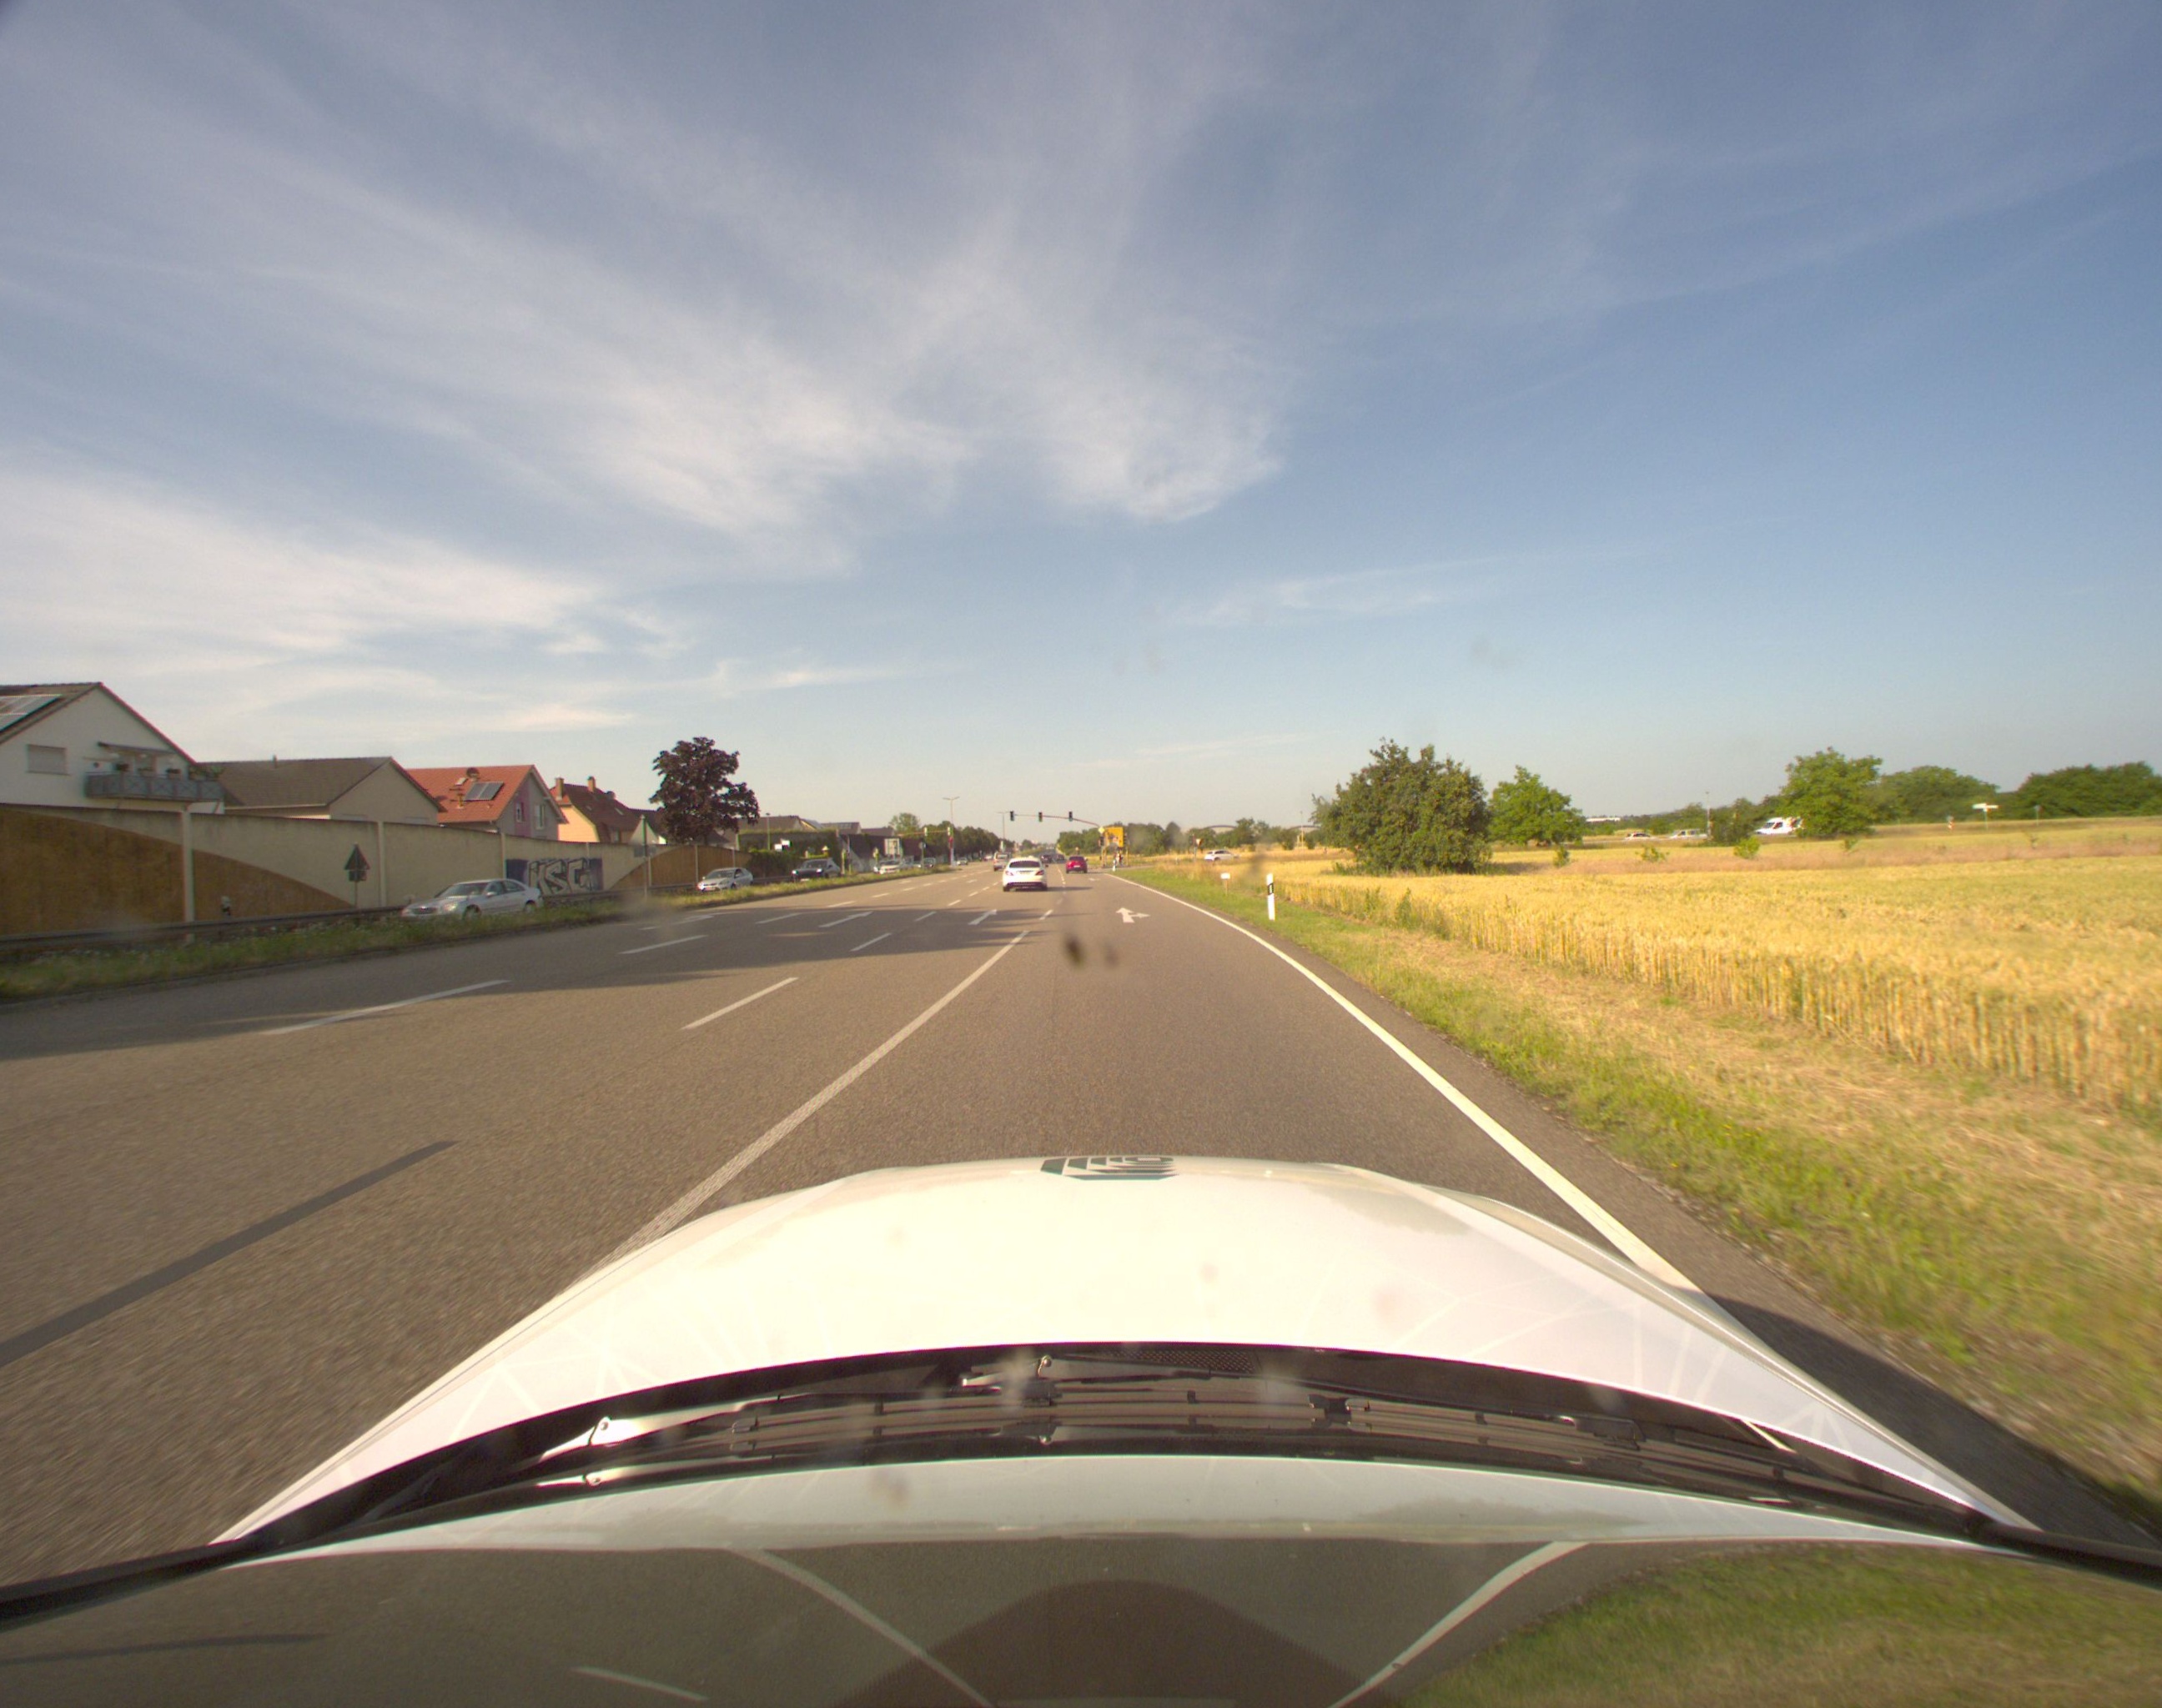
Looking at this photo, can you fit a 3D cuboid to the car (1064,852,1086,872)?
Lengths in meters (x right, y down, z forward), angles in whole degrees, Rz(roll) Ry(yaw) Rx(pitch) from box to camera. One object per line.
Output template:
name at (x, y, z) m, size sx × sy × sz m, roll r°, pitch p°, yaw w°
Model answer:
car at (-0.541, 0.650, 68.604) m, size 1.749 × 1.517 × 3.998 m, roll -2°, pitch 0°, yaw -1°

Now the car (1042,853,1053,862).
car at (-6.217, 0.606, 151.770) m, size 1.833 × 1.684 × 4.000 m, roll 0°, pitch 0°, yaw 1°

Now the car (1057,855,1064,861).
car at (-4.585, 0.890, 180.134) m, size 1.435 × 1.284 × 2.913 m, roll 0°, pitch 0°, yaw -1°

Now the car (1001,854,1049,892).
car at (-2.368, 0.766, 35.373) m, size 1.889 × 1.509 × 3.997 m, roll -1°, pitch 0°, yaw -2°

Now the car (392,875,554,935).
car at (-19.003, 1.526, 25.787) m, size 1.646 × 1.567 × 4.710 m, roll 0°, pitch 0°, yaw -1°

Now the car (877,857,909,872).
car at (-16.472, 0.897, 71.699) m, size 1.868 × 1.321 × 4.710 m, roll 0°, pitch 0°, yaw -2°

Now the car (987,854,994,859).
car at (-26.402, 0.750, 236.518) m, size 1.730 × 1.574 × 3.700 m, roll 0°, pitch 0°, yaw -2°

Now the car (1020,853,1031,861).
car at (-10.337, 0.509, 151.974) m, size 1.712 × 1.492 × 3.582 m, roll 0°, pitch 0°, yaw -1°

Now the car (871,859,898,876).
car at (-20.623, 1.365, 85.559) m, size 1.972 × 1.665 × 4.585 m, roll 0°, pitch 0°, yaw -3°

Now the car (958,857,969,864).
car at (-23.144, 1.233, 160.357) m, size 1.781 × 1.437 × 4.349 m, roll 0°, pitch 0°, yaw -5°

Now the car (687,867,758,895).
car at (-19.093, 1.385, 43.602) m, size 1.775 × 1.322 × 4.602 m, roll 0°, pitch 0°, yaw -1°

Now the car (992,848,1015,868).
car at (-7.889, 0.390, 83.221) m, size 2.019 × 1.891 × 4.956 m, roll 0°, pitch 1°, yaw -1°

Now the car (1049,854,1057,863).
car at (-5.964, 0.936, 173.589) m, size 1.706 × 1.736 × 3.864 m, roll 0°, pitch 0°, yaw -2°

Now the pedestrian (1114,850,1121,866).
pedestrian at (4.064, 0.460, 91.253) m, size 0.708 × 1.751 × 0.863 m, roll 0°, pitch 0°, yaw 0°

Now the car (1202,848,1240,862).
car at (16.169, 0.071, 93.885) m, size 4.003 × 1.598 × 1.847 m, roll 0°, pitch 0°, yaw -22°

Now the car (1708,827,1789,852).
car at (76.406, -1.612, 93.353) m, size 6.973 × 2.795 × 2.326 m, roll 0°, pitch 0°, yaw 10°

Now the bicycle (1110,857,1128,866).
bicycle at (4.311, 0.872, 93.117) m, size 2.088 × 1.089 × 0.808 m, roll 0°, pitch 0°, yaw 1°

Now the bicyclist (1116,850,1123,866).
bicyclist at (4.397, 0.464, 93.101) m, size 0.845 × 1.756 × 0.798 m, roll 0°, pitch 0°, yaw -1°

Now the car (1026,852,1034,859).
car at (-11.726, 0.326, 186.249) m, size 1.773 × 1.665 × 3.657 m, roll 0°, pitch 0°, yaw -5°

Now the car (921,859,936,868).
car at (-21.591, 1.360, 115.371) m, size 1.681 × 1.286 × 3.144 m, roll 0°, pitch 0°, yaw -2°

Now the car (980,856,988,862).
car at (-25.247, 1.292, 212.102) m, size 1.730 × 1.574 × 3.700 m, roll 0°, pitch 0°, yaw -2°

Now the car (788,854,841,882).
car at (-16.086, 0.810, 49.409) m, size 1.726 × 1.625 × 4.918 m, roll 0°, pitch 0°, yaw -2°
